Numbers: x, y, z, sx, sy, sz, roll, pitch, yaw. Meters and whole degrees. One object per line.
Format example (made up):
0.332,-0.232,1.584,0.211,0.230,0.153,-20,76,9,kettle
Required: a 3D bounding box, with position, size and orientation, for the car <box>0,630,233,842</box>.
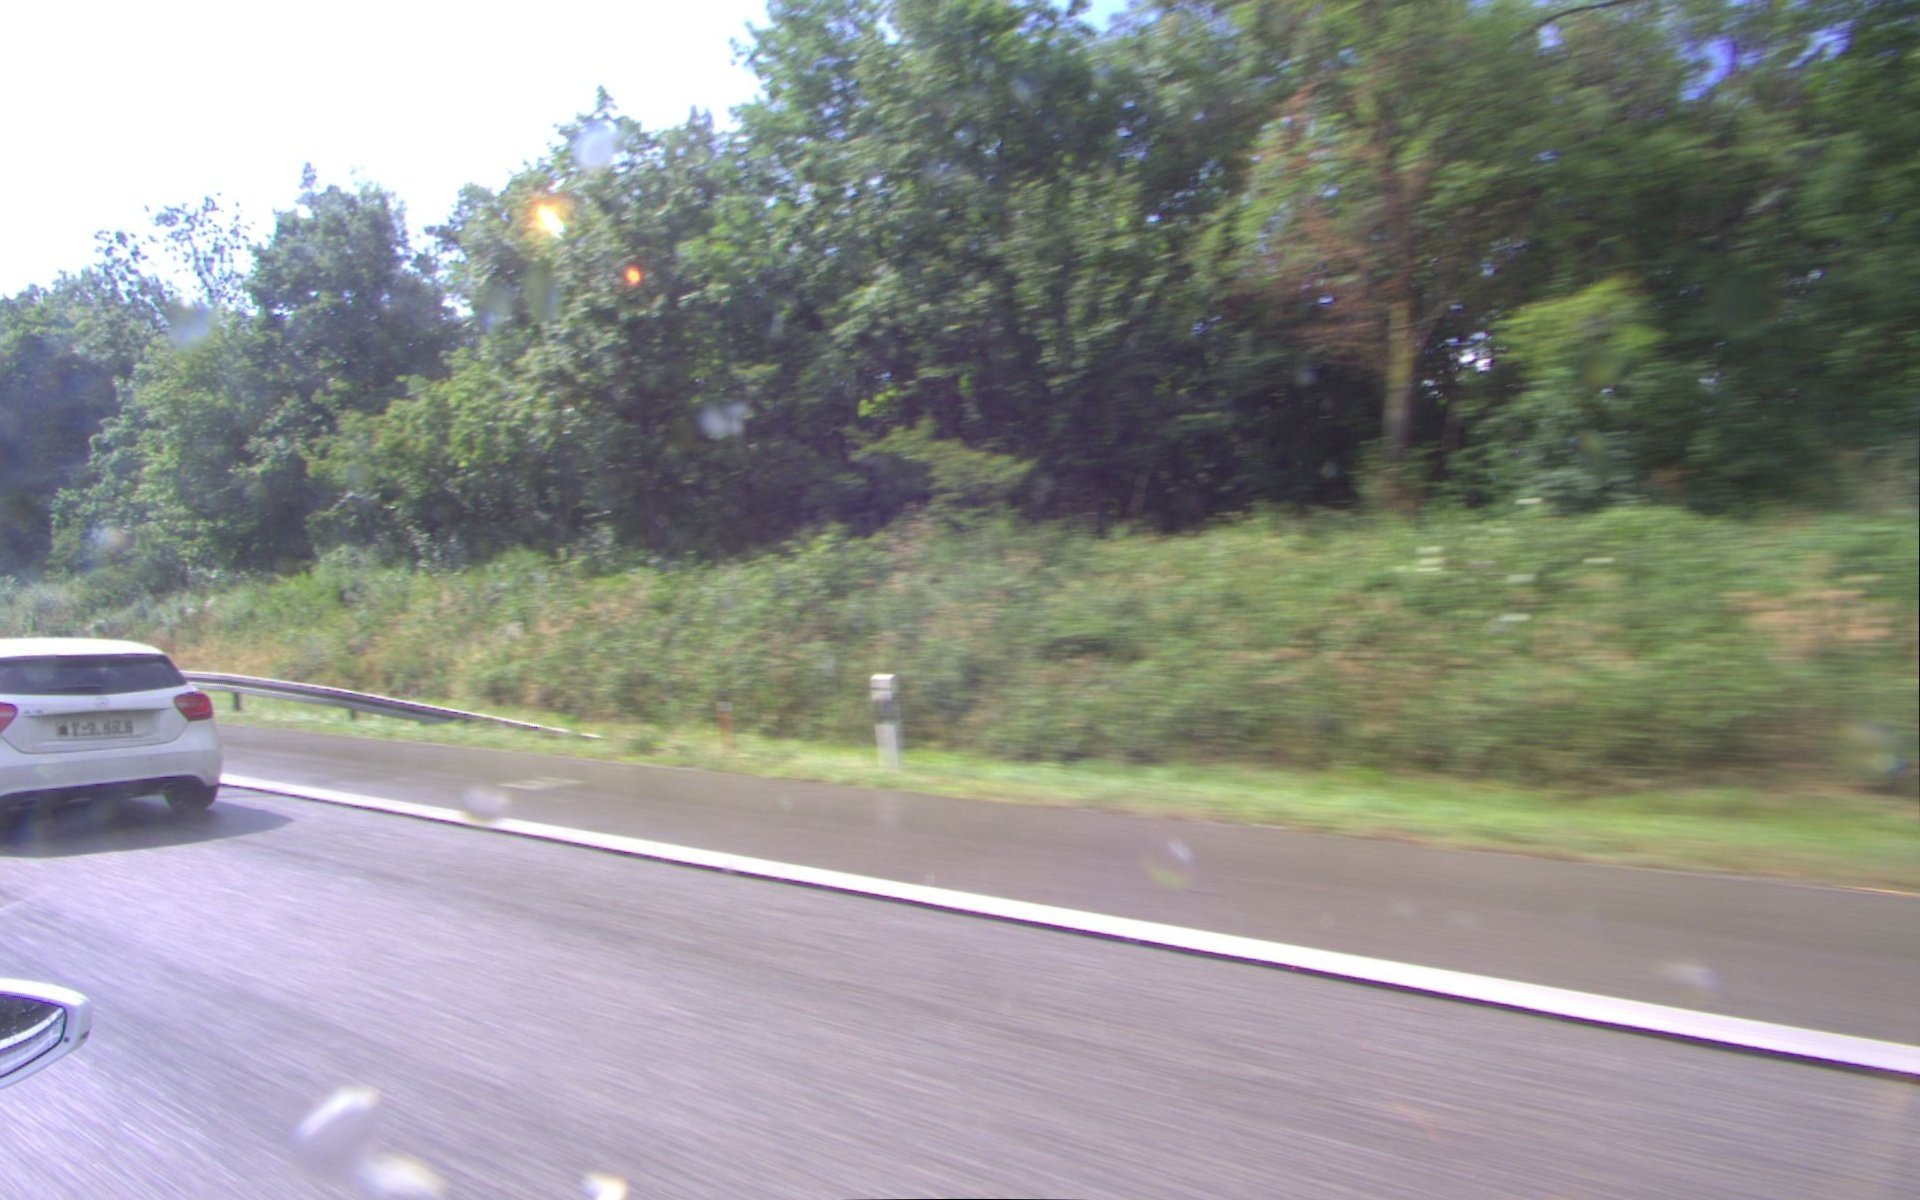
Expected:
-7.995,0.981,8.400,4.161,1.443,1.689,-1,-2,33,car
